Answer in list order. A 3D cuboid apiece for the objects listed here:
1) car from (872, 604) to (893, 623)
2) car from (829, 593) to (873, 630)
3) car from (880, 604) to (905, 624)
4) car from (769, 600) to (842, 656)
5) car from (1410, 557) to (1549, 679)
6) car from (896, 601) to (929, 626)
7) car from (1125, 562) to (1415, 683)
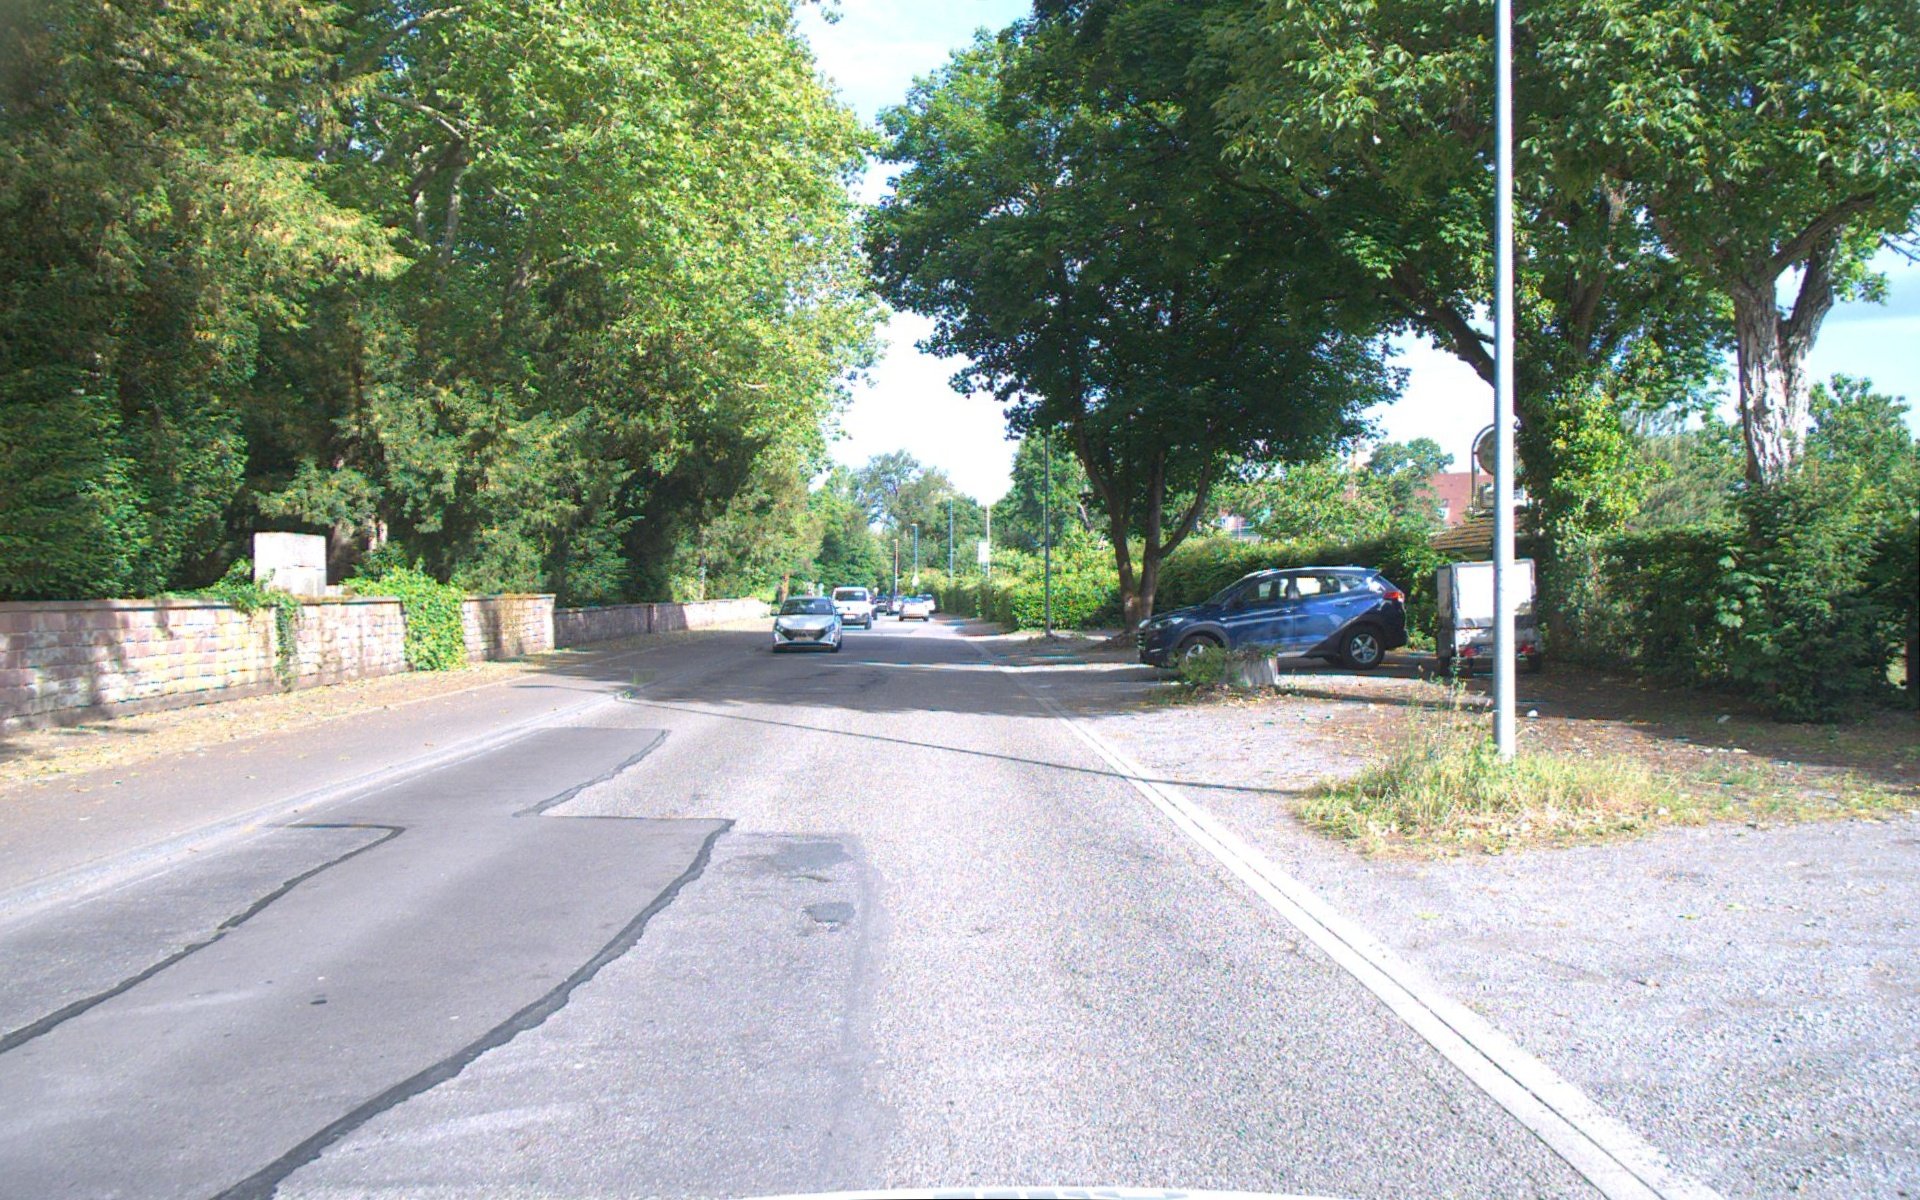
[{"bbox_3d":[-6.867,1.216,147.098,1.849,1.641,4.052,0,0,-3],"label":"car"},{"bbox_3d":[-4.763,0.490,72.604,1.849,1.592,4.052,0,0,-3],"label":"car"},{"bbox_3d":[-5.060,1.038,124.454,1.849,1.490,4.052,0,0,-3],"label":"car"},{"bbox_3d":[-4.077,0.718,44.212,1.849,1.396,4.051,0,0,-4],"label":"car"},{"bbox_3d":[7.896,0.224,25.402,1.322,1.661,4.115,-3,0,8],"label":"car"},{"bbox_3d":[-2.821,0.786,97.127,1.849,1.396,4.052,0,0,-3],"label":"car"},{"bbox_3d":[5.015,0.350,27.188,4.314,1.675,2.000,-3,0,-1],"label":"car"}]
